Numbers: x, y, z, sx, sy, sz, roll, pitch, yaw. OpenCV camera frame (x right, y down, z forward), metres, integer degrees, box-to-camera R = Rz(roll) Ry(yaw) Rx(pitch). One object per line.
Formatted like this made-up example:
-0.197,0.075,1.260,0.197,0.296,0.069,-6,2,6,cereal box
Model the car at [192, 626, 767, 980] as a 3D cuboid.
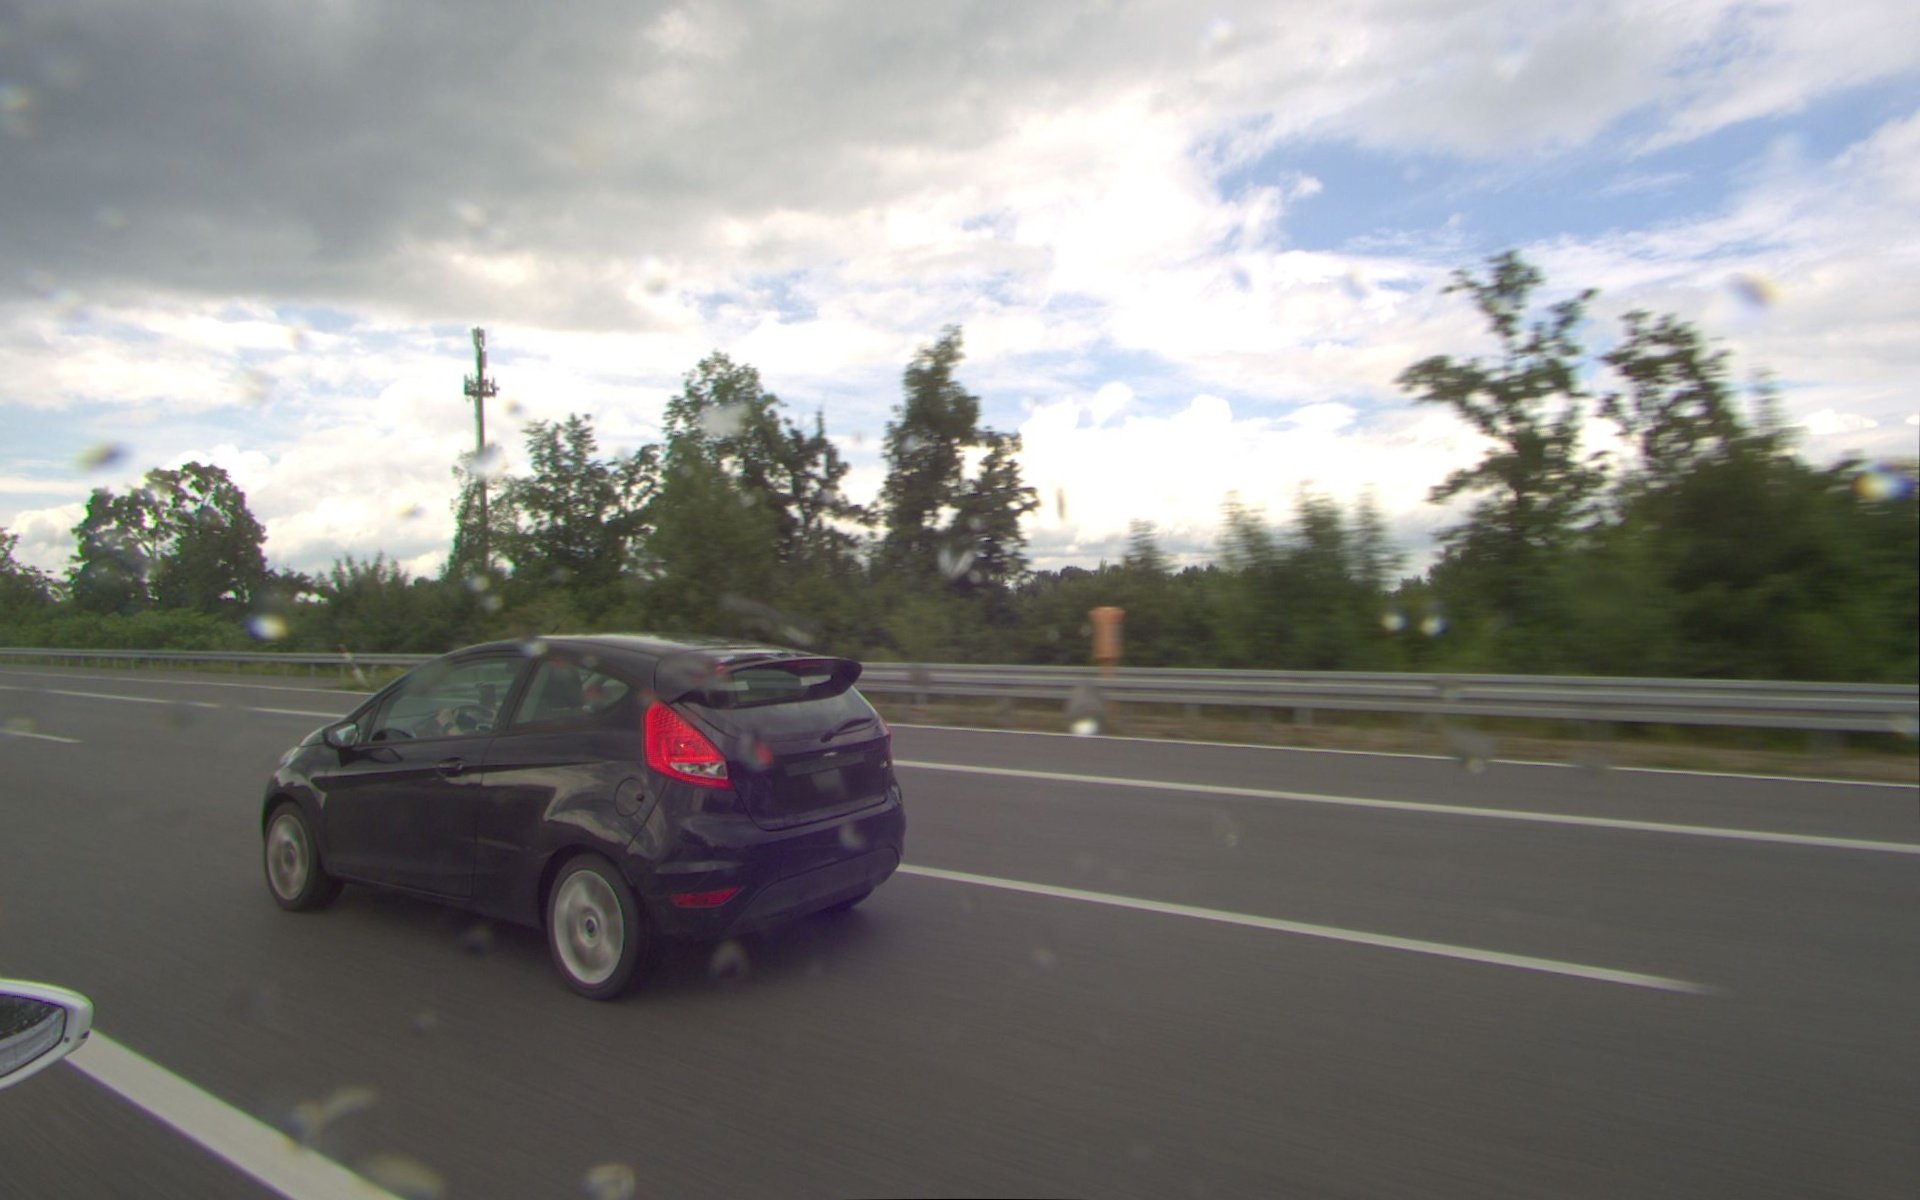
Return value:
-2.735,0.880,5.584,3.118,1.460,1.445,-1,-2,32,car
